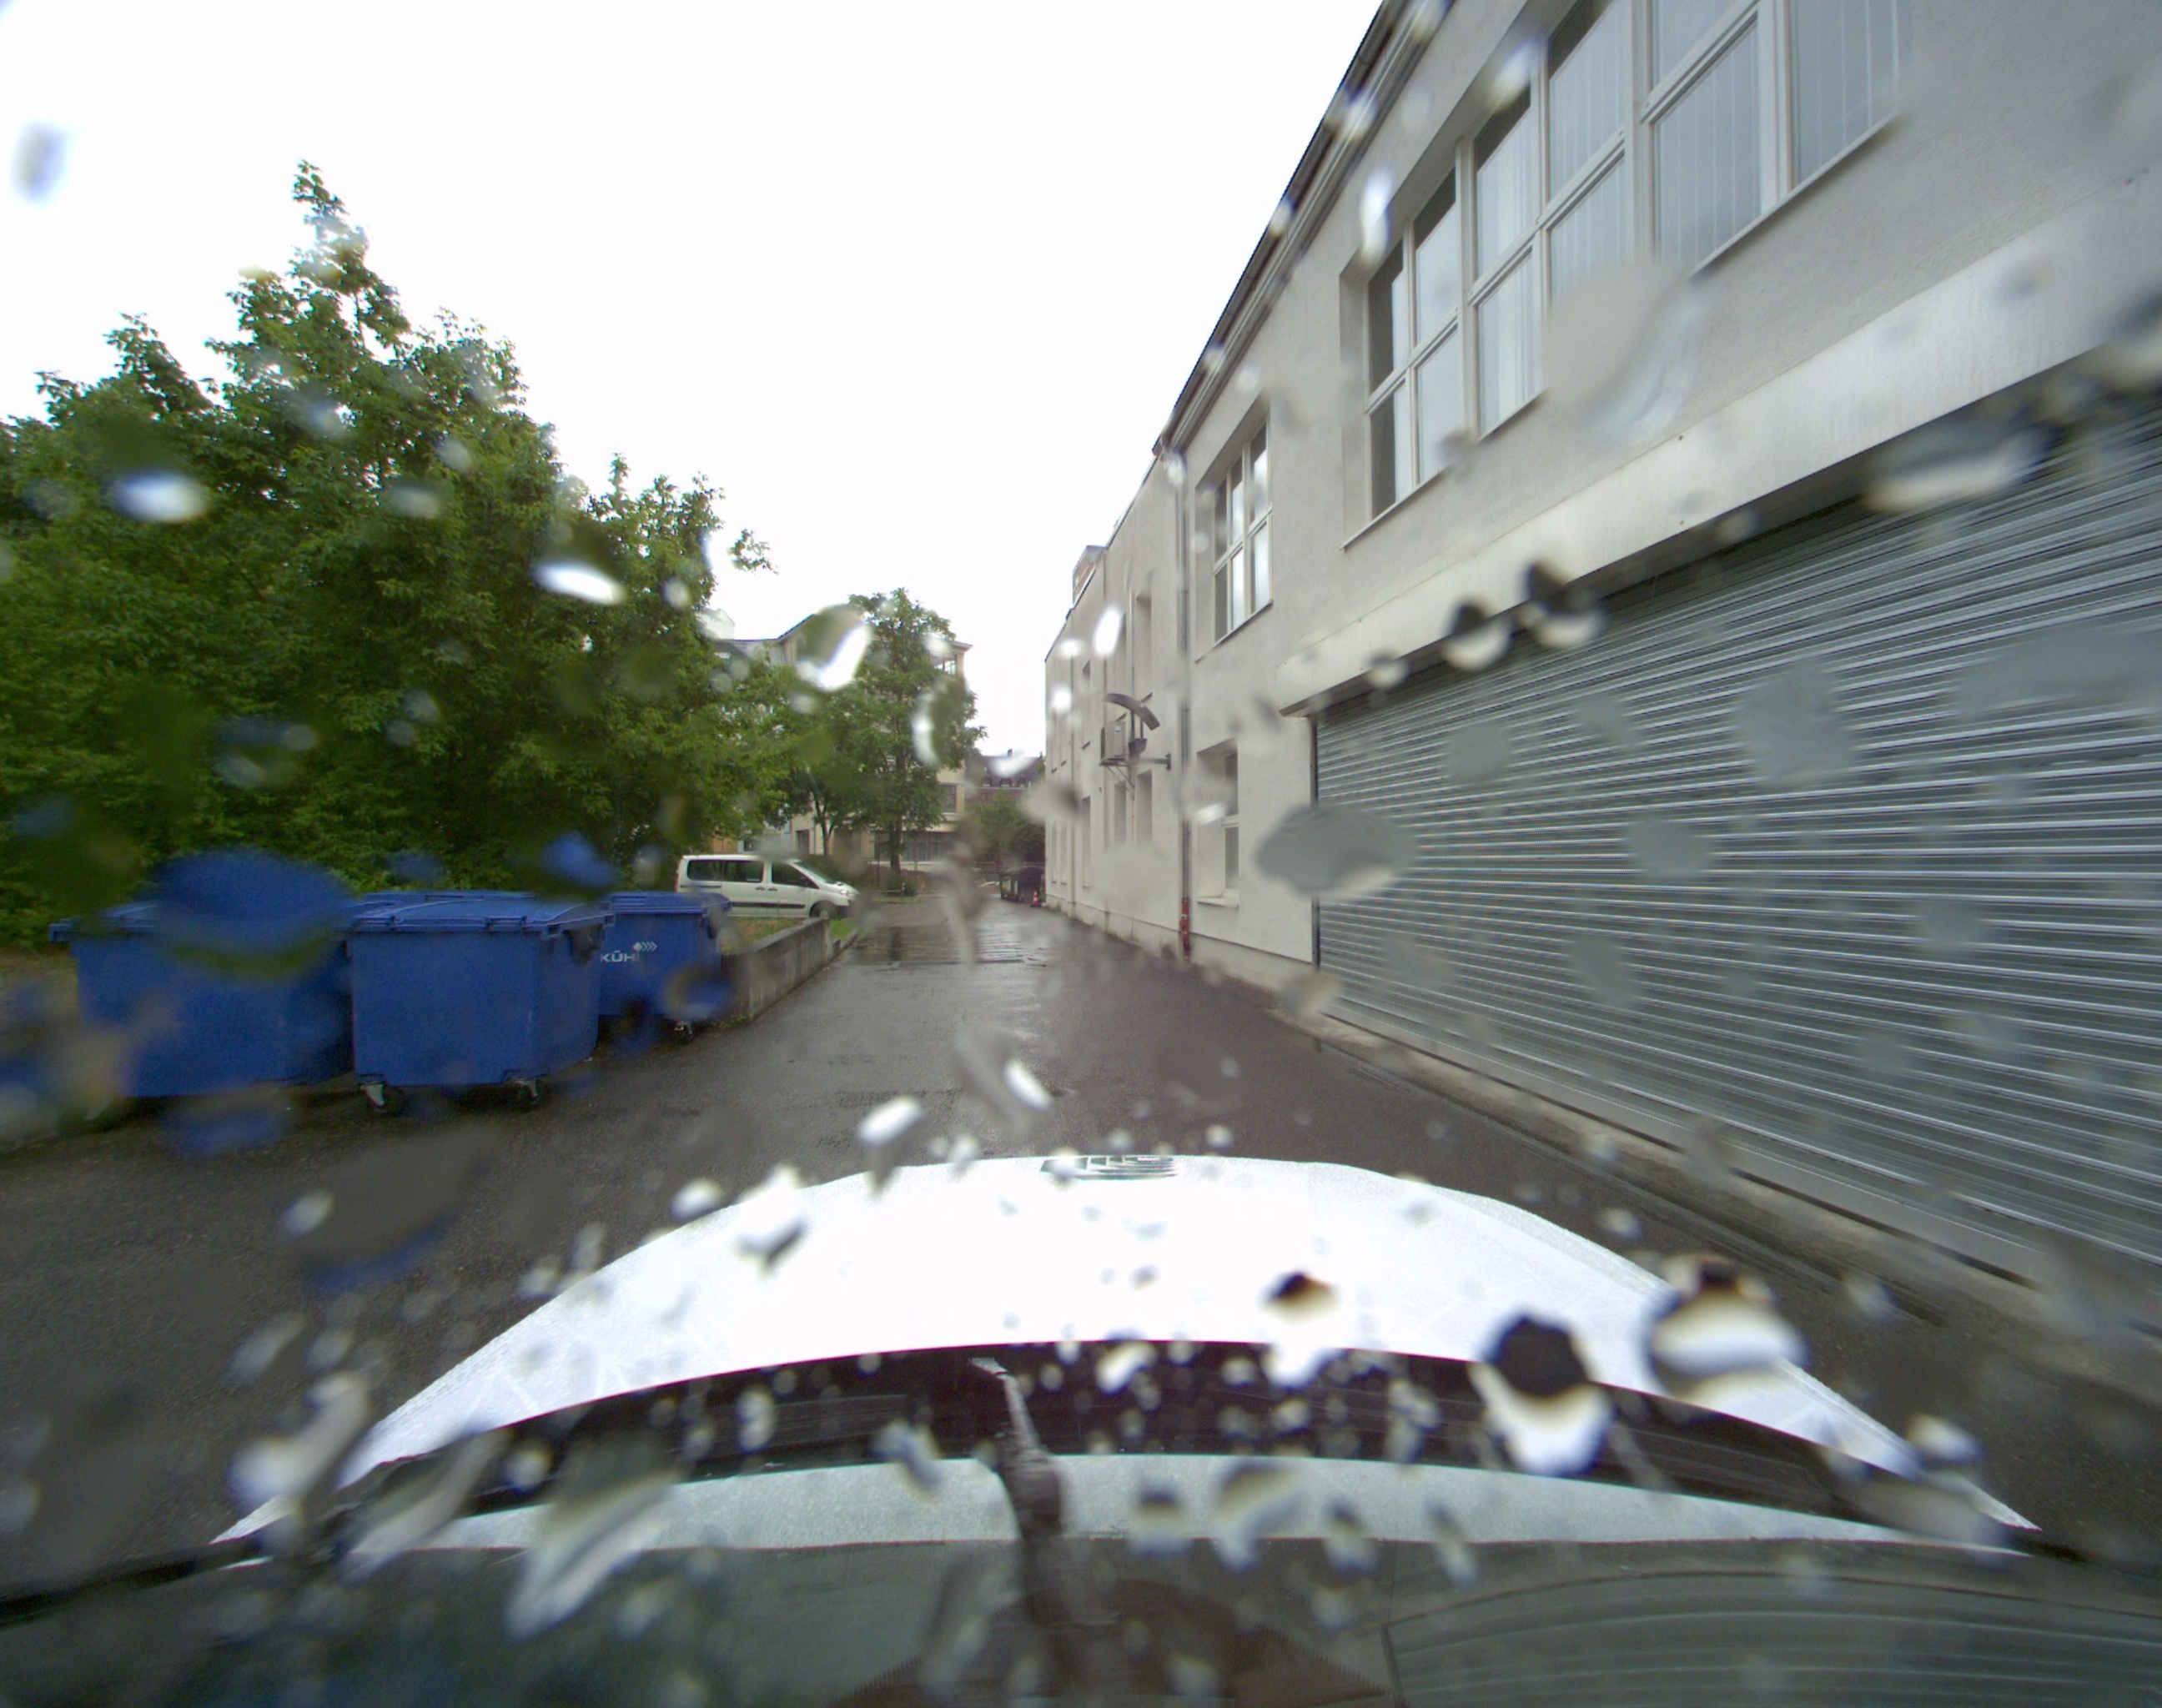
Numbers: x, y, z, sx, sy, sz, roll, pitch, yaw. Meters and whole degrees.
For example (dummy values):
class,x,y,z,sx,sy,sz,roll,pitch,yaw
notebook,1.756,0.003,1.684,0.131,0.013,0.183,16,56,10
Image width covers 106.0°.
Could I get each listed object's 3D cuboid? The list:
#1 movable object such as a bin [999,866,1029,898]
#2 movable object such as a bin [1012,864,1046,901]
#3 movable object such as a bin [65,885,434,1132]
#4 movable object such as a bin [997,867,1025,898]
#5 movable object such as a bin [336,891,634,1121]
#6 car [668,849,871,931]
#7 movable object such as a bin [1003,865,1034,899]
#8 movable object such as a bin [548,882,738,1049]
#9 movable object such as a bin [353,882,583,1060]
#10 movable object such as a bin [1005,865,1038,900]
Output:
class,x,y,z,sx,sy,sz,roll,pitch,yaw
movable object such as a bin,-3.071,1.281,37.259,1.215,1.437,1.254,0,-3,-12
movable object such as a bin,-2.084,1.150,32.682,1.215,1.437,1.230,0,-3,-12
movable object such as a bin,-5.218,0.911,5.254,1.202,1.337,1.113,2,1,-10
movable object such as a bin,-3.330,1.352,38.607,1.215,1.437,1.254,0,-3,-12
movable object such as a bin,-3.920,0.941,5.518,1.201,1.337,1.114,0,-1,-6
car,-8.262,0.910,22.064,4.779,2.013,1.994,-1,0,-10
movable object such as a bin,-2.772,1.245,35.921,1.215,1.469,1.230,0,-3,-12
movable object such as a bin,-3.849,0.937,7.293,1.221,1.337,1.003,0,-1,-10
movable object such as a bin,-5.133,0.934,6.933,1.221,1.337,1.003,0,0,-10
movable object such as a bin,-2.520,1.202,34.315,1.215,1.437,1.289,0,-3,-12
